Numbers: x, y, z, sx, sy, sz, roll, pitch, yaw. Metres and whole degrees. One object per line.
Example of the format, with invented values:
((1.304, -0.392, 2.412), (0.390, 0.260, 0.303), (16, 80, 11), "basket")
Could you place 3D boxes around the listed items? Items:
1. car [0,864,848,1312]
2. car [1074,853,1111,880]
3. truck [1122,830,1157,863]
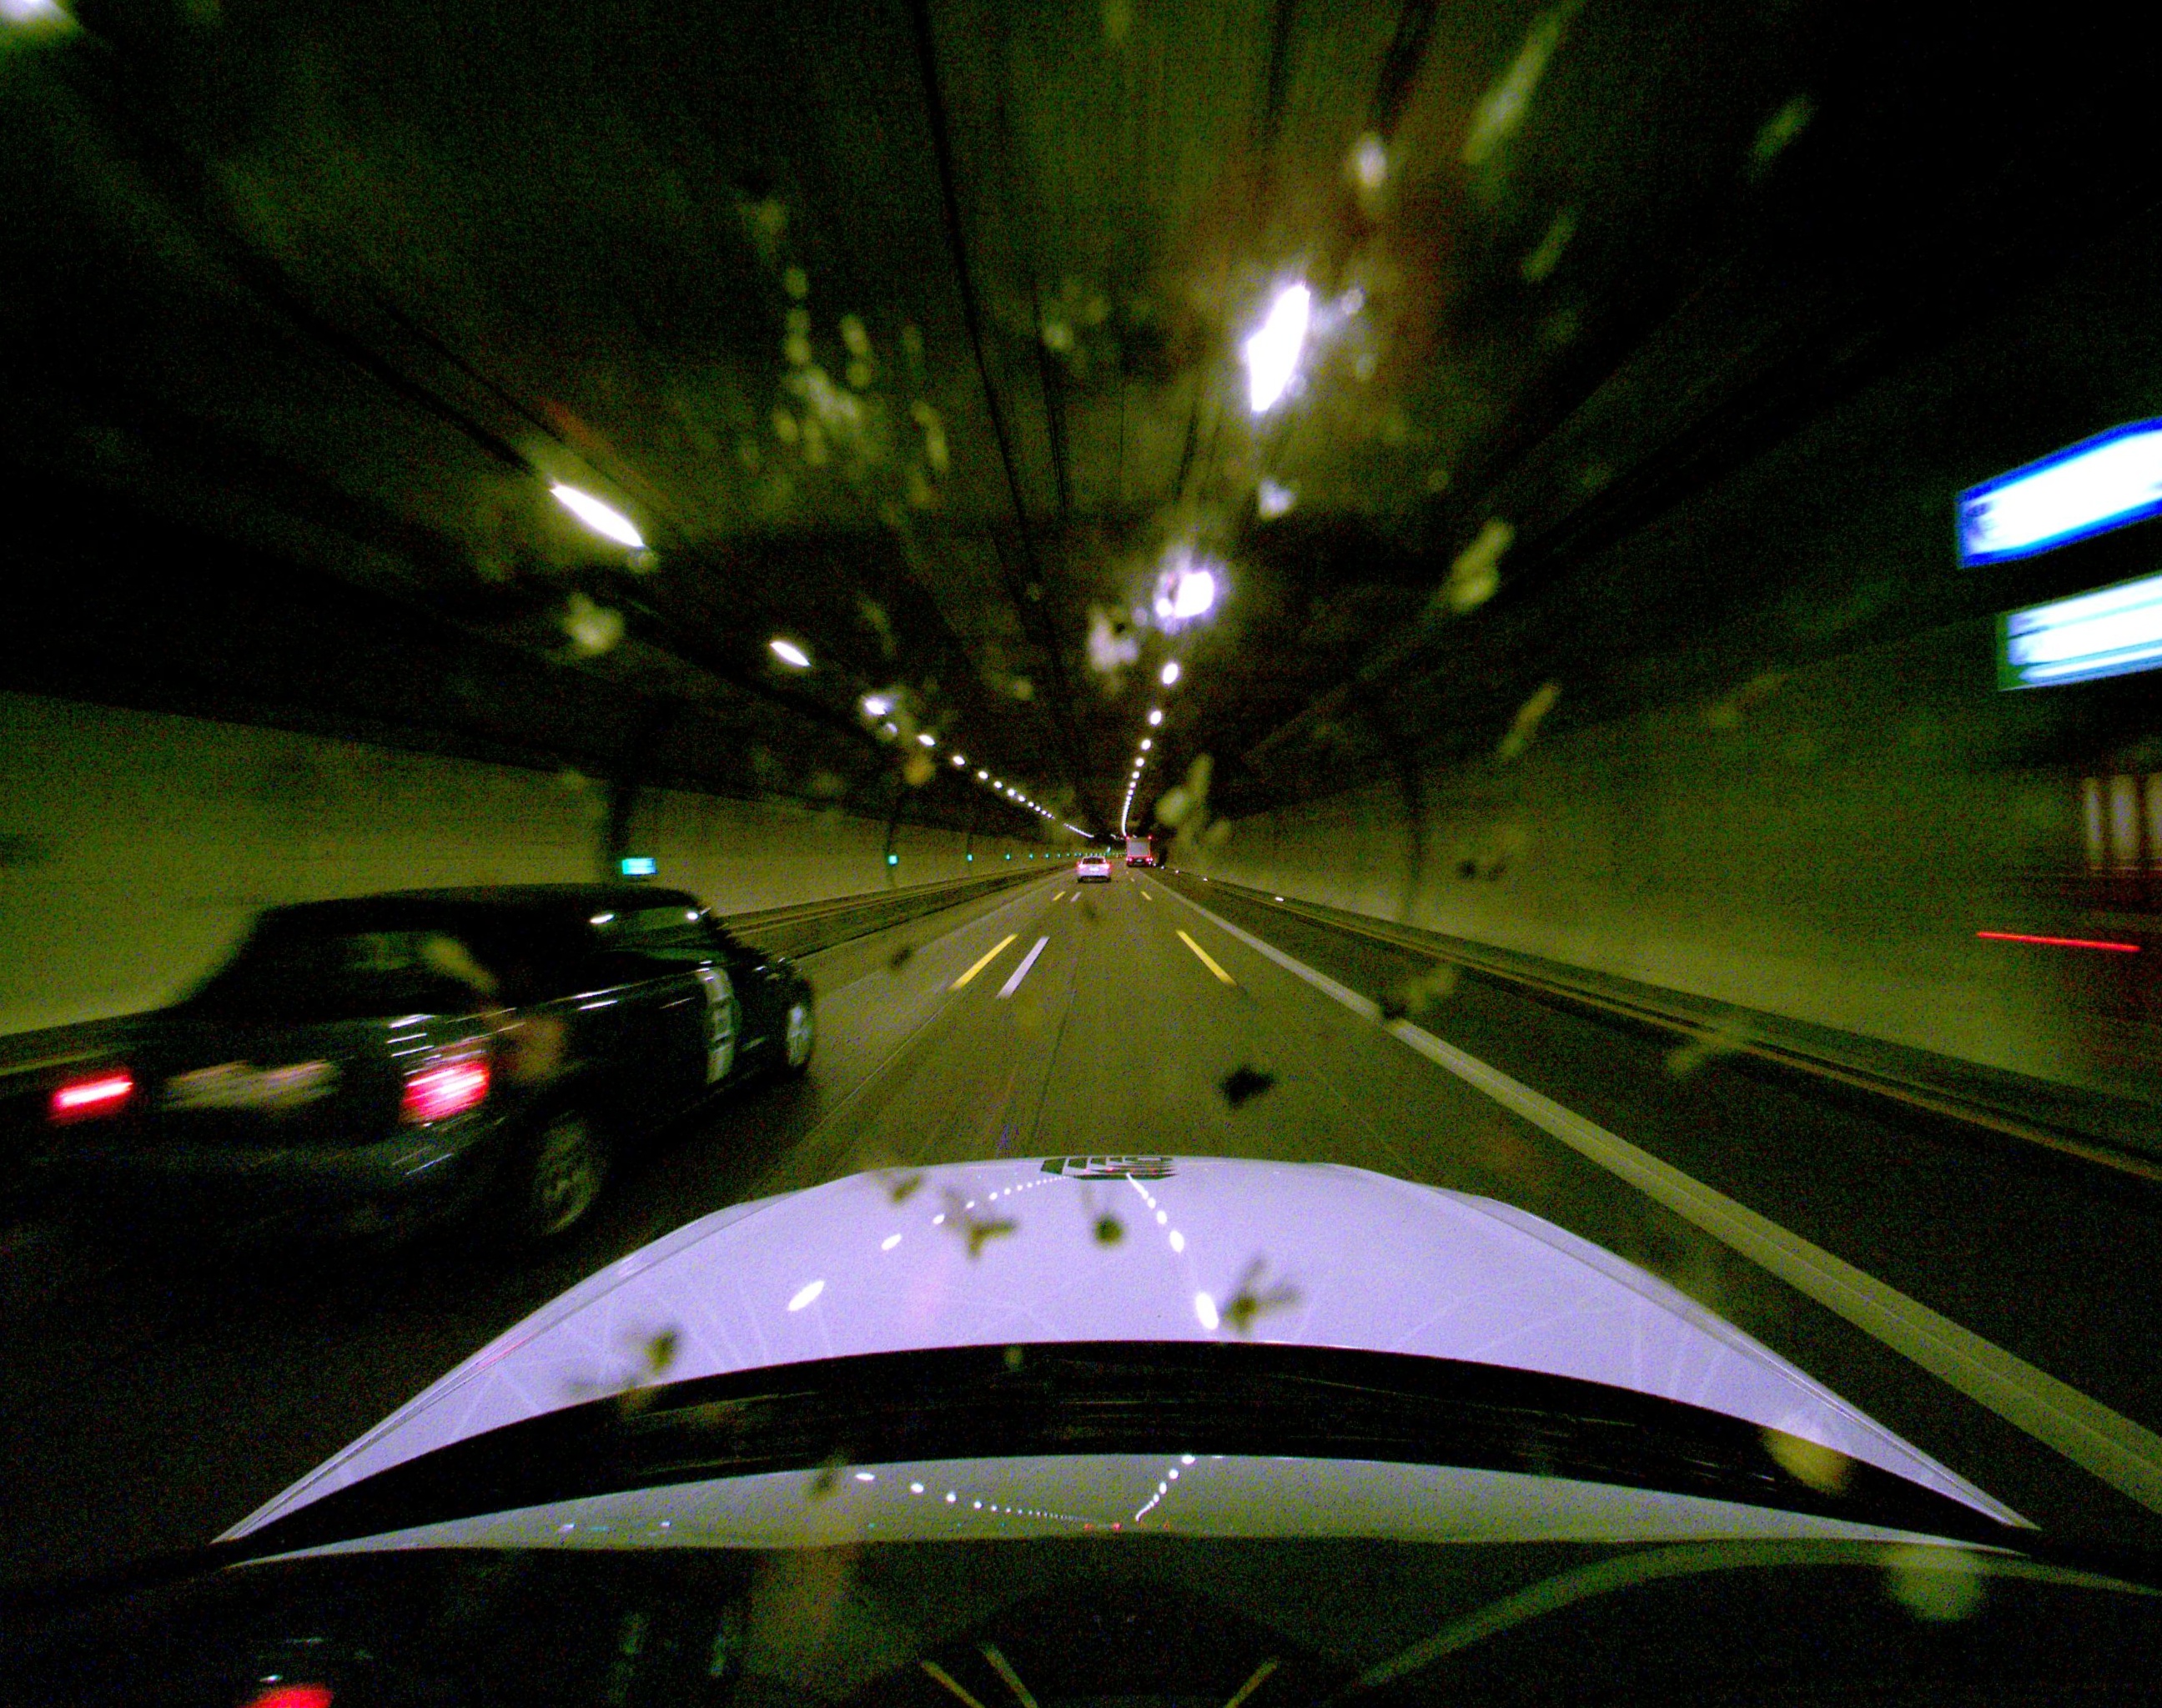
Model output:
((-2.790, 0.802, 4.660), (1.683, 1.417, 3.924), (-1, 0, 1), "car")
((0.668, 0.680, 45.714), (1.986, 1.413, 4.743), (-1, 0, 1), "car")
((6.712, -0.836, 95.226), (3.580, 3.650, 10.724), (-1, 0, 1), "truck")
